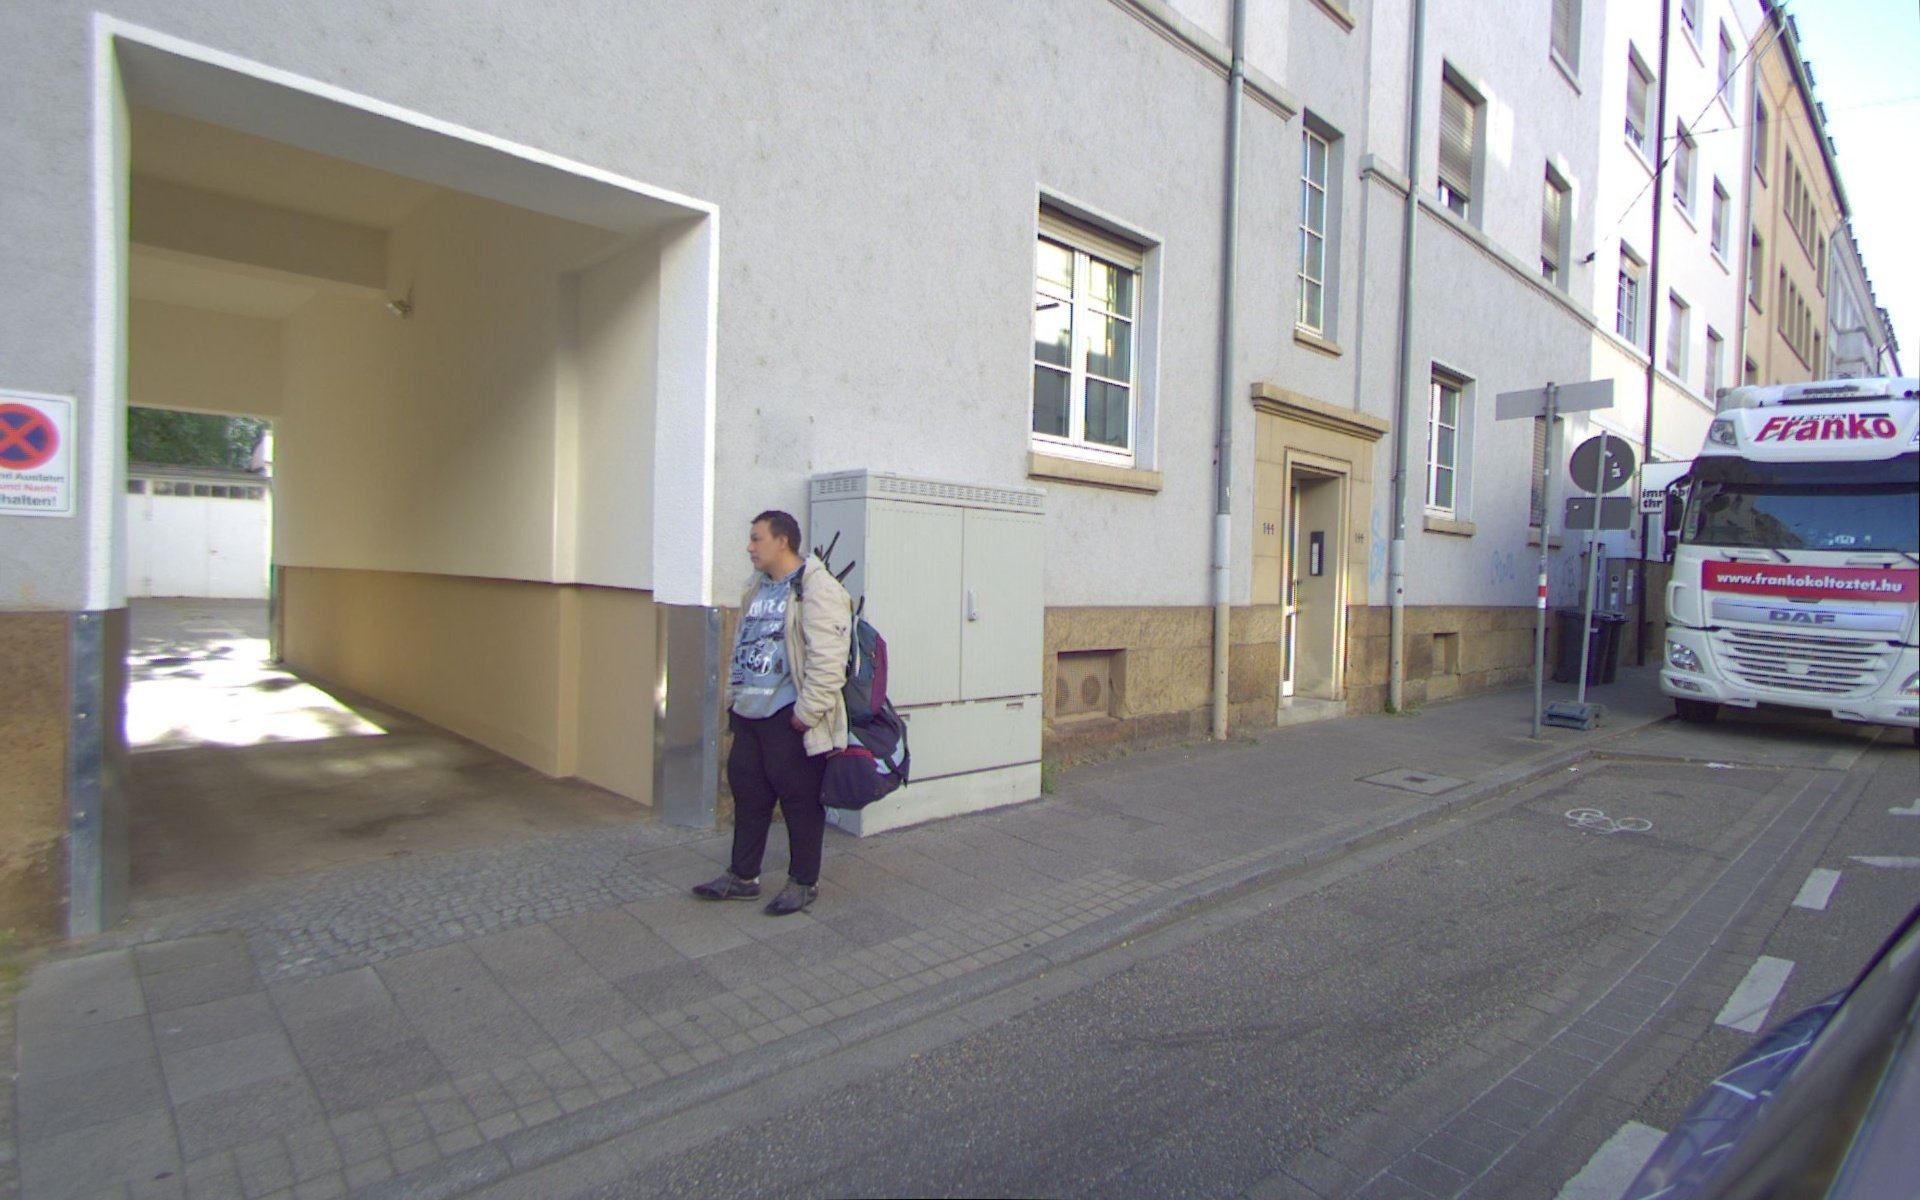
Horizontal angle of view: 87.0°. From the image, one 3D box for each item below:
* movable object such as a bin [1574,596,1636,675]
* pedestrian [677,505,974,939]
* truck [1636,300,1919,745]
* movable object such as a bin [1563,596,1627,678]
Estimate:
[{"bbox_3d":[9.570,0.510,15.013,0.658,1.118,0.533,2,2,44],"label":"movable object such as a bin"},{"bbox_3d":[-0.566,0.412,4.201,0.854,1.552,0.827,0,3,-42],"label":"pedestrian"},{"bbox_3d":[12.653,-0.759,13.884,11.578,4.123,2.864,0,2,-43],"label":"truck"},{"bbox_3d":[9.159,0.515,14.598,0.658,1.118,0.533,2,2,44],"label":"movable object such as a bin"}]
